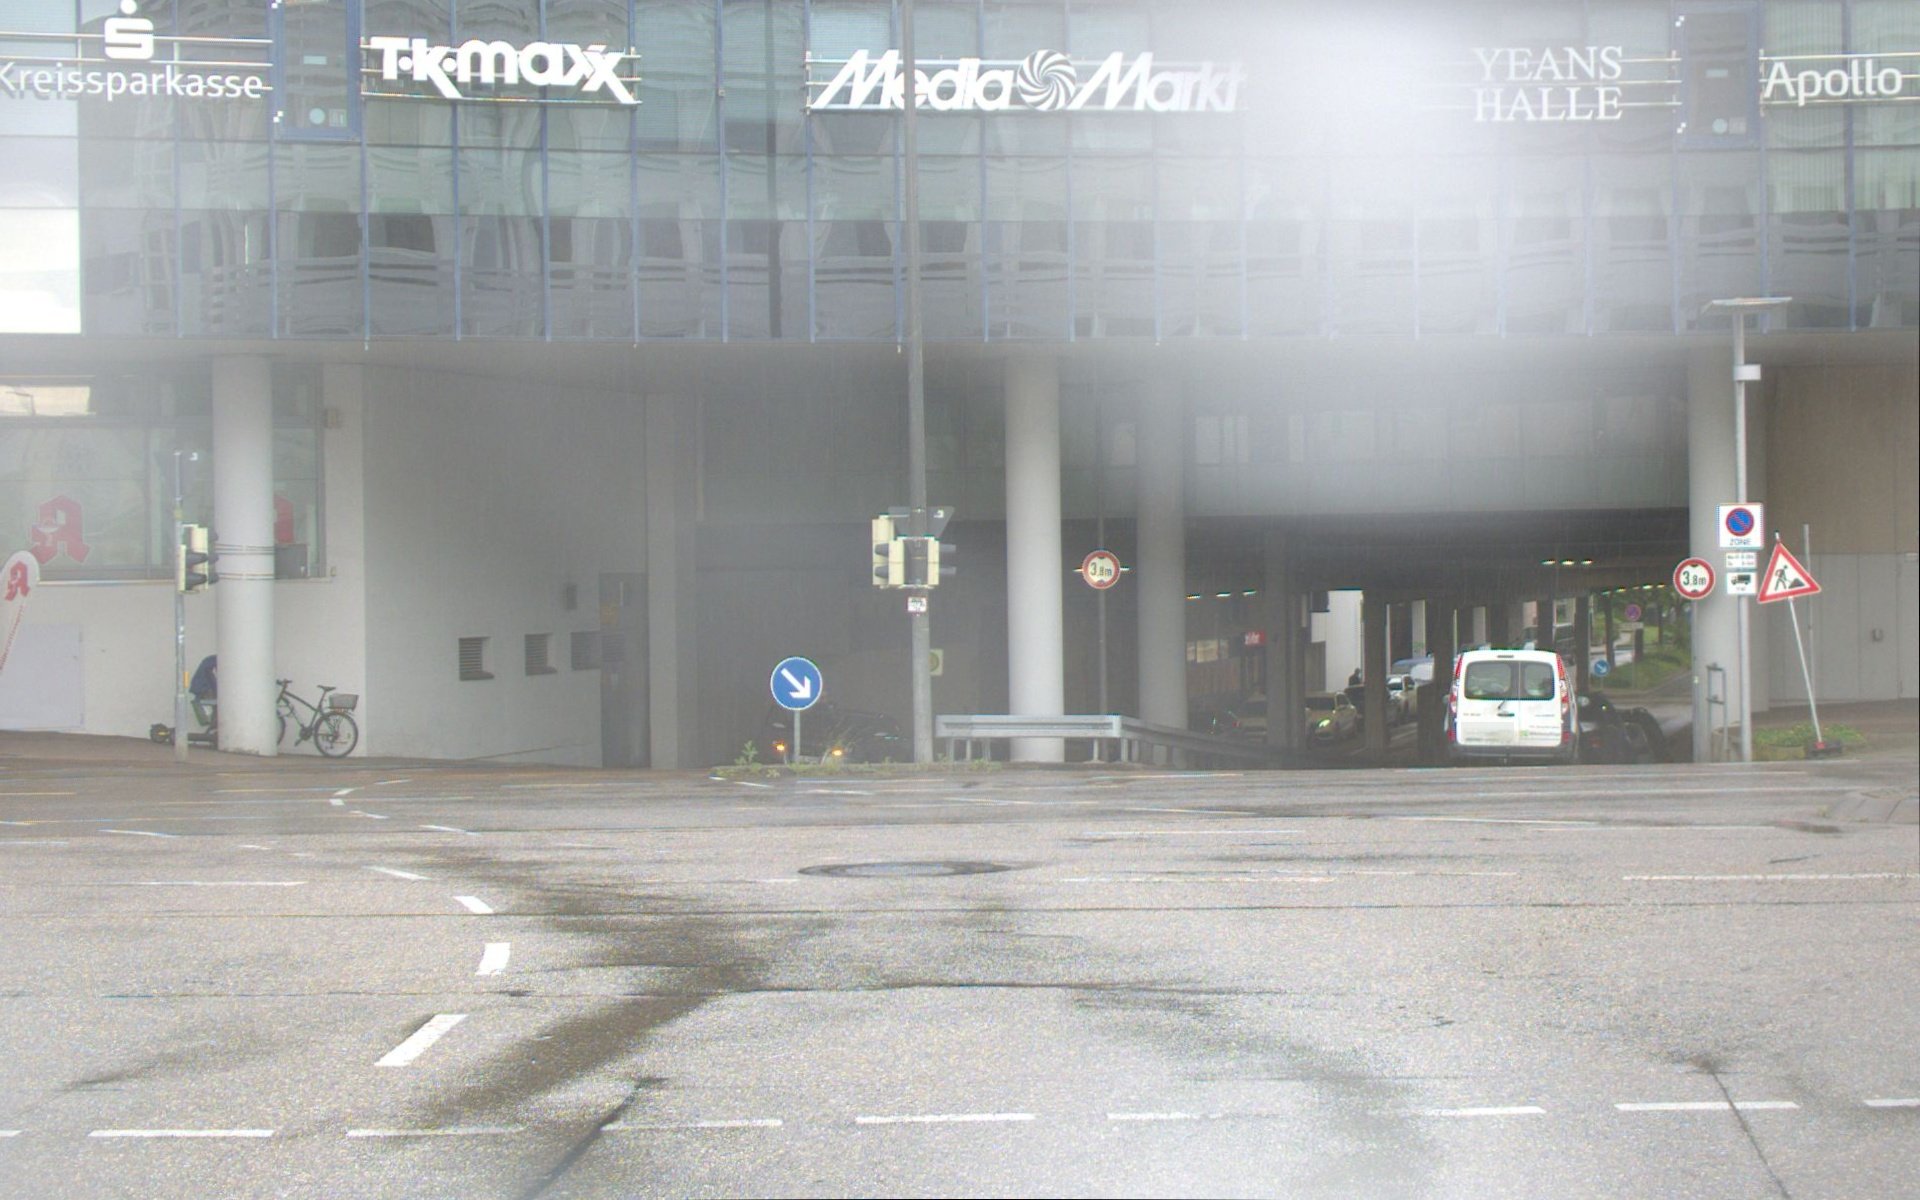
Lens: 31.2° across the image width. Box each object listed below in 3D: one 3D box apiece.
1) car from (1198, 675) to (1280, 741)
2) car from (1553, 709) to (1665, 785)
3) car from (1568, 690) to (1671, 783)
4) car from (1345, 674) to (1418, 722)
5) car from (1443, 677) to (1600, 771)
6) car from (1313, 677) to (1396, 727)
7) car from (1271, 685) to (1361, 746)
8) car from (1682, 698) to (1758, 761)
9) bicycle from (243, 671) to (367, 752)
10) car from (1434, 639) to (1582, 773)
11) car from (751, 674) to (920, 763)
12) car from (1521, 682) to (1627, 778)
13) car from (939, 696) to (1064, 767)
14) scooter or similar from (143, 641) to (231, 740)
[{"bbox_3d":[7.820,2.999,96.092,1.837,1.722,3.998,0,0,11],"label":"car"},{"bbox_3d":[12.482,2.844,65.980,1.781,1.396,3.996,-1,-3,15],"label":"car"},{"bbox_3d":[13.656,2.792,71.049,1.792,1.764,3.997,-1,-1,14],"label":"car"},{"bbox_3d":[14.083,3.249,114.599,1.994,1.459,3.998,-1,0,13],"label":"car"},{"bbox_3d":[9.223,2.062,56.266,1.759,1.459,3.938,-2,-3,21],"label":"car"},{"bbox_3d":[12.586,3.231,109.517,1.995,1.459,3.997,-1,-1,15],"label":"car"},{"bbox_3d":[10.563,3.404,101.880,1.995,1.658,3.997,1,0,15],"label":"car"},{"bbox_3d":[20.111,3.398,90.904,1.889,1.486,3.838,1,0,13],"label":"car"},{"bbox_3d":[-9.281,1.580,48.698,1.581,1.014,0.452,6,-2,-31],"label":"bicycle"},{"bbox_3d":[7.795,1.485,48.635,1.926,1.791,4.294,-1,-1,10],"label":"car"},{"bbox_3d":[-2.218,2.181,62.491,1.894,1.465,4.023,-1,-4,16],"label":"car"},{"bbox_3d":[10.917,2.316,60.952,1.634,1.606,4.259,-2,-3,13],"label":"car"},{"bbox_3d":[0.919,2.843,74.431,1.772,1.459,3.872,-1,-2,15],"label":"car"},{"bbox_3d":[-10.843,1.268,48.211,1.166,1.368,0.489,1,0,-15],"label":"scooter or similar"}]
